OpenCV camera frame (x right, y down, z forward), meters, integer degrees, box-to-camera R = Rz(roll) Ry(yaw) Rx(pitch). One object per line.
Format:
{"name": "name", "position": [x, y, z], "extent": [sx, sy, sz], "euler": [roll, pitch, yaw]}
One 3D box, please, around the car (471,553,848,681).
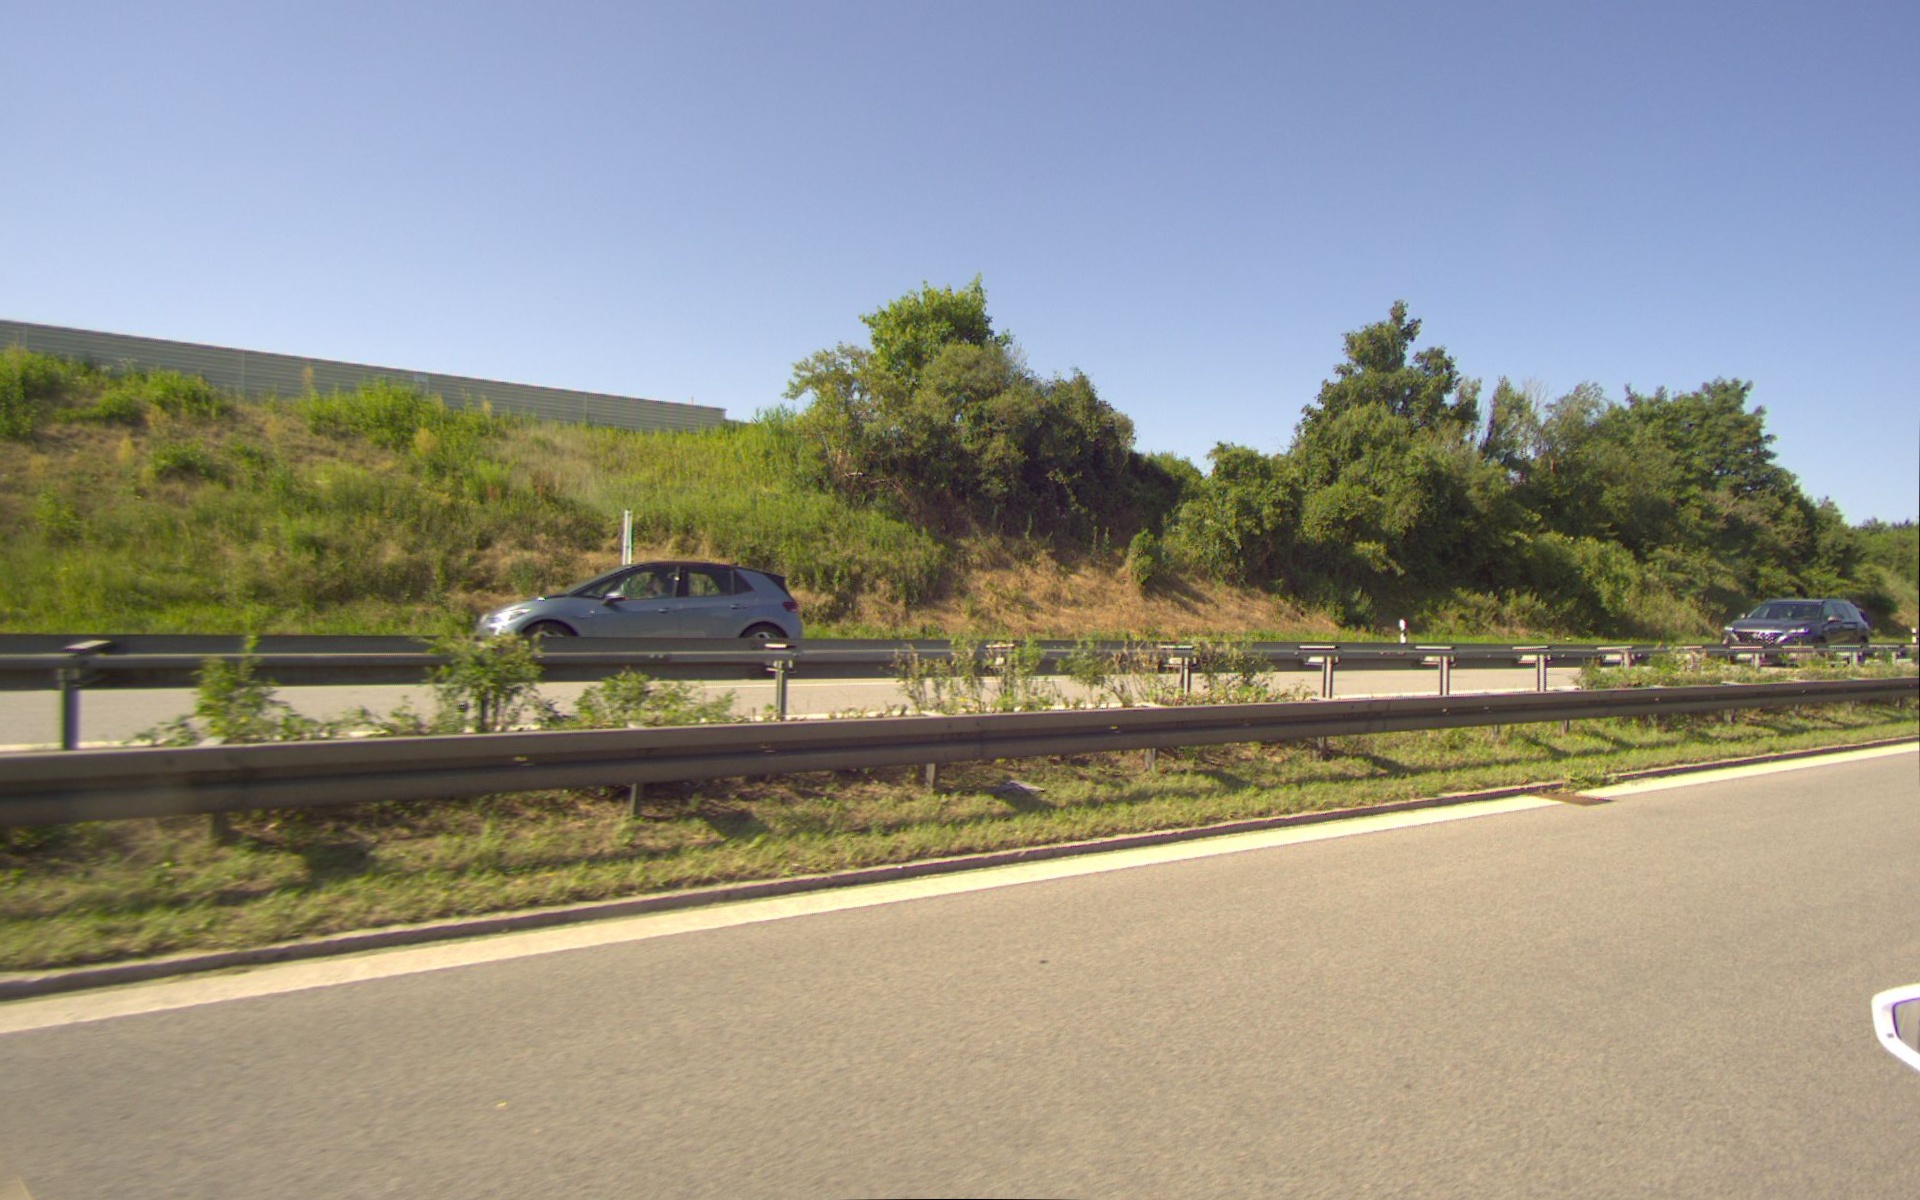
{"name": "car", "position": [-4.035, 0.239, 13.726], "extent": [4.631, 1.500, 1.810], "euler": [2, 1, -31]}

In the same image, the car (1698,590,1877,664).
{"name": "car", "position": [20.912, 0.675, 25.335], "extent": [4.832, 1.701, 2.057], "euler": [1, -1, -32]}
